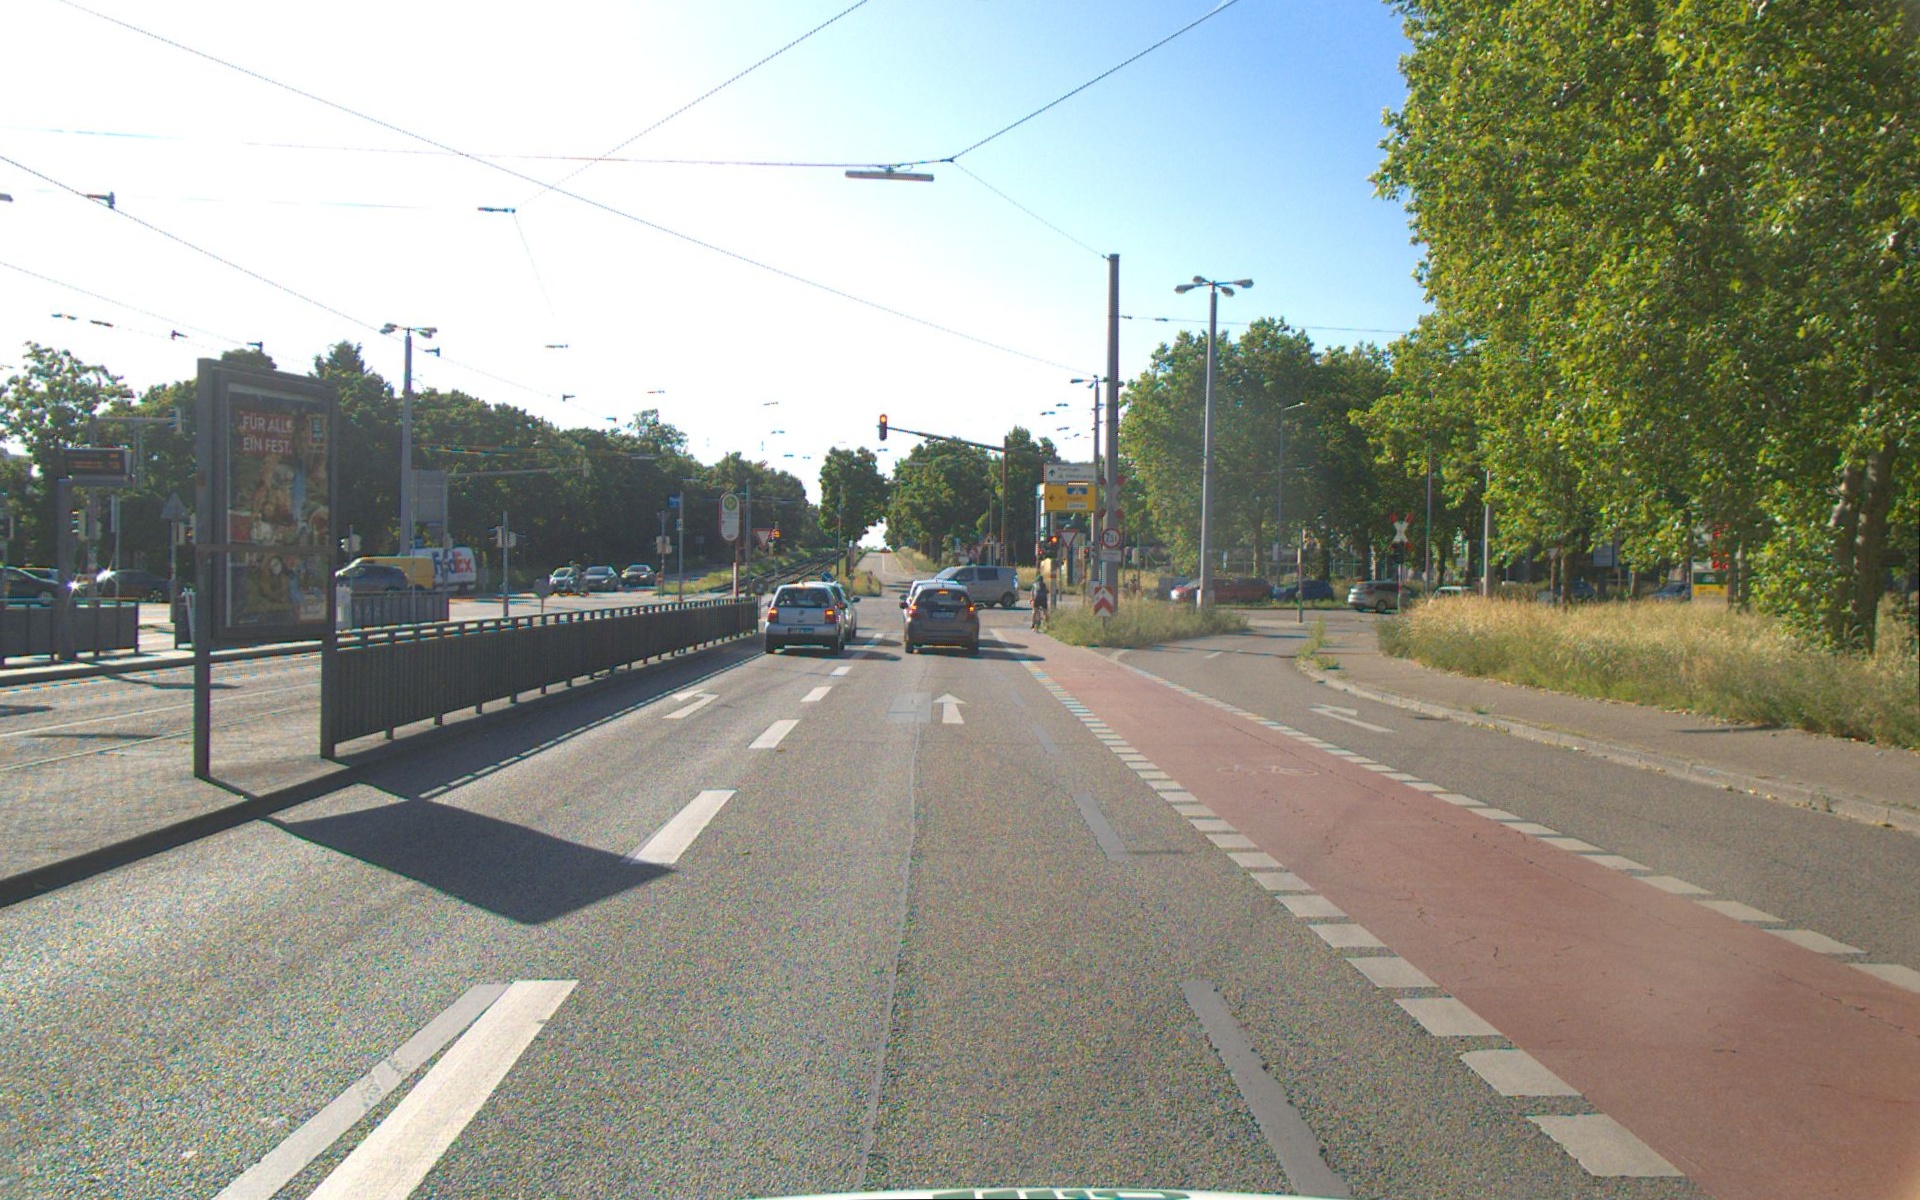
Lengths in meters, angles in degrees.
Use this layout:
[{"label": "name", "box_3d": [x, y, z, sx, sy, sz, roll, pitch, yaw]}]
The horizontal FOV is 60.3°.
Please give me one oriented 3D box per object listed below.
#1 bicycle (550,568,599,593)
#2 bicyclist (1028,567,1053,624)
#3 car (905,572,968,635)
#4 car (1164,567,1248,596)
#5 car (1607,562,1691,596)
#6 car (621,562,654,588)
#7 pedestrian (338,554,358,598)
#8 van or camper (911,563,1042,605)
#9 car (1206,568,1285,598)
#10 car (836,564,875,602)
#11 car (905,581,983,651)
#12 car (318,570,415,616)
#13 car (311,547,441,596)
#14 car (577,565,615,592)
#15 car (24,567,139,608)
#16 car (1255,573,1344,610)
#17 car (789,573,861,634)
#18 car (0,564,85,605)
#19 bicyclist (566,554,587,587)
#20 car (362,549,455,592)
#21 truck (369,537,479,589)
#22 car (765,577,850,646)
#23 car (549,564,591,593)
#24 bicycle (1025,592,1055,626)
[{"label": "bicycle", "box_3d": [-19.916, -1.003, 85.440, 2.360, 1.285, 0.813, 0, 1, -19]}, {"label": "bicyclist", "box_3d": [2.511, -0.142, 51.667, 0.652, 1.746, 0.948, 2, 0, -1]}, {"label": "car", "box_3d": [-0.639, 0.070, 44.473, 1.578, 1.589, 4.287, 1, 1, -1]}, {"label": "car", "box_3d": [12.264, -0.910, 82.528, 3.951, 1.427, 1.597, 0, 1, -25]}, {"label": "car", "box_3d": [42.140, -1.280, 101.171, 4.822, 2.048, 1.986, 0, 1, -24]}, {"label": "car", "box_3d": [-21.903, -1.725, 112.500, 1.956, 1.632, 4.747, 2, 1, -8]}, {"label": "pedestrian", "box_3d": [-28.129, -1.103, 76.000, 0.735, 2.049, 0.789, 0, 1, -13]}, {"label": "van or camper", "box_3d": [0.791, -0.746, 76.918, 5.896, 1.860, 1.983, 0, 1, -27]}, {"label": "car", "box_3d": [15.004, -0.902, 86.908, 3.934, 1.557, 1.594, 0, 1, -24]}, {"label": "car", "box_3d": [-6.016, -0.967, 95.686, 1.953, 2.049, 4.491, 2, 0, -1]}, {"label": "car", "box_3d": [-0.415, 0.334, 37.841, 1.635, 1.487, 3.584, 1, 1, -3]}, {"label": "car", "box_3d": [-24.506, -0.288, 68.295, 3.566, 1.739, 1.737, 2, 0, -27]}, {"label": "car", "box_3d": [-25.507, -1.246, 72.288, 5.096, 1.912, 1.982, 2, 0, -28]}, {"label": "car", "box_3d": [-21.807, -1.308, 99.159, 1.797, 1.575, 4.278, 0, 1, -7]}, {"label": "car", "box_3d": [-35.266, -0.488, 66.495, 3.937, 1.499, 1.738, 2, 0, -26]}, {"label": "car", "box_3d": [19.428, -0.481, 94.653, 4.625, 1.912, 1.986, 2, 0, -24]}, {"label": "car", "box_3d": [-3.469, 0.076, 43.156, 1.586, 1.482, 4.084, 1, 0, -1]}, {"label": "car", "box_3d": [-32.466, -0.528, 57.397, 3.619, 1.402, 1.515, 0, 1, -26]}, {"label": "bicyclist", "box_3d": [-19.821, -1.536, 85.485, 0.991, 1.676, 0.813, 0, 1, -19]}, {"label": "car", "box_3d": [-24.328, -1.293, 72.921, 3.741, 1.739, 1.740, 2, 0, -23]}, {"label": "truck", "box_3d": [-28.392, -1.941, 87.887, 1.952, 2.609, 6.826, 1, 1, 18]}, {"label": "car", "box_3d": [-3.290, 0.230, 36.122, 1.586, 1.442, 3.350, 0, 0, -1]}, {"label": "car", "box_3d": [-21.304, -1.180, 90.379, 1.797, 1.575, 3.994, 0, 1, -7]}, {"label": "bicycle", "box_3d": [2.495, 0.270, 51.750, 0.707, 1.006, 2.875, 2, 0, -1]}]
